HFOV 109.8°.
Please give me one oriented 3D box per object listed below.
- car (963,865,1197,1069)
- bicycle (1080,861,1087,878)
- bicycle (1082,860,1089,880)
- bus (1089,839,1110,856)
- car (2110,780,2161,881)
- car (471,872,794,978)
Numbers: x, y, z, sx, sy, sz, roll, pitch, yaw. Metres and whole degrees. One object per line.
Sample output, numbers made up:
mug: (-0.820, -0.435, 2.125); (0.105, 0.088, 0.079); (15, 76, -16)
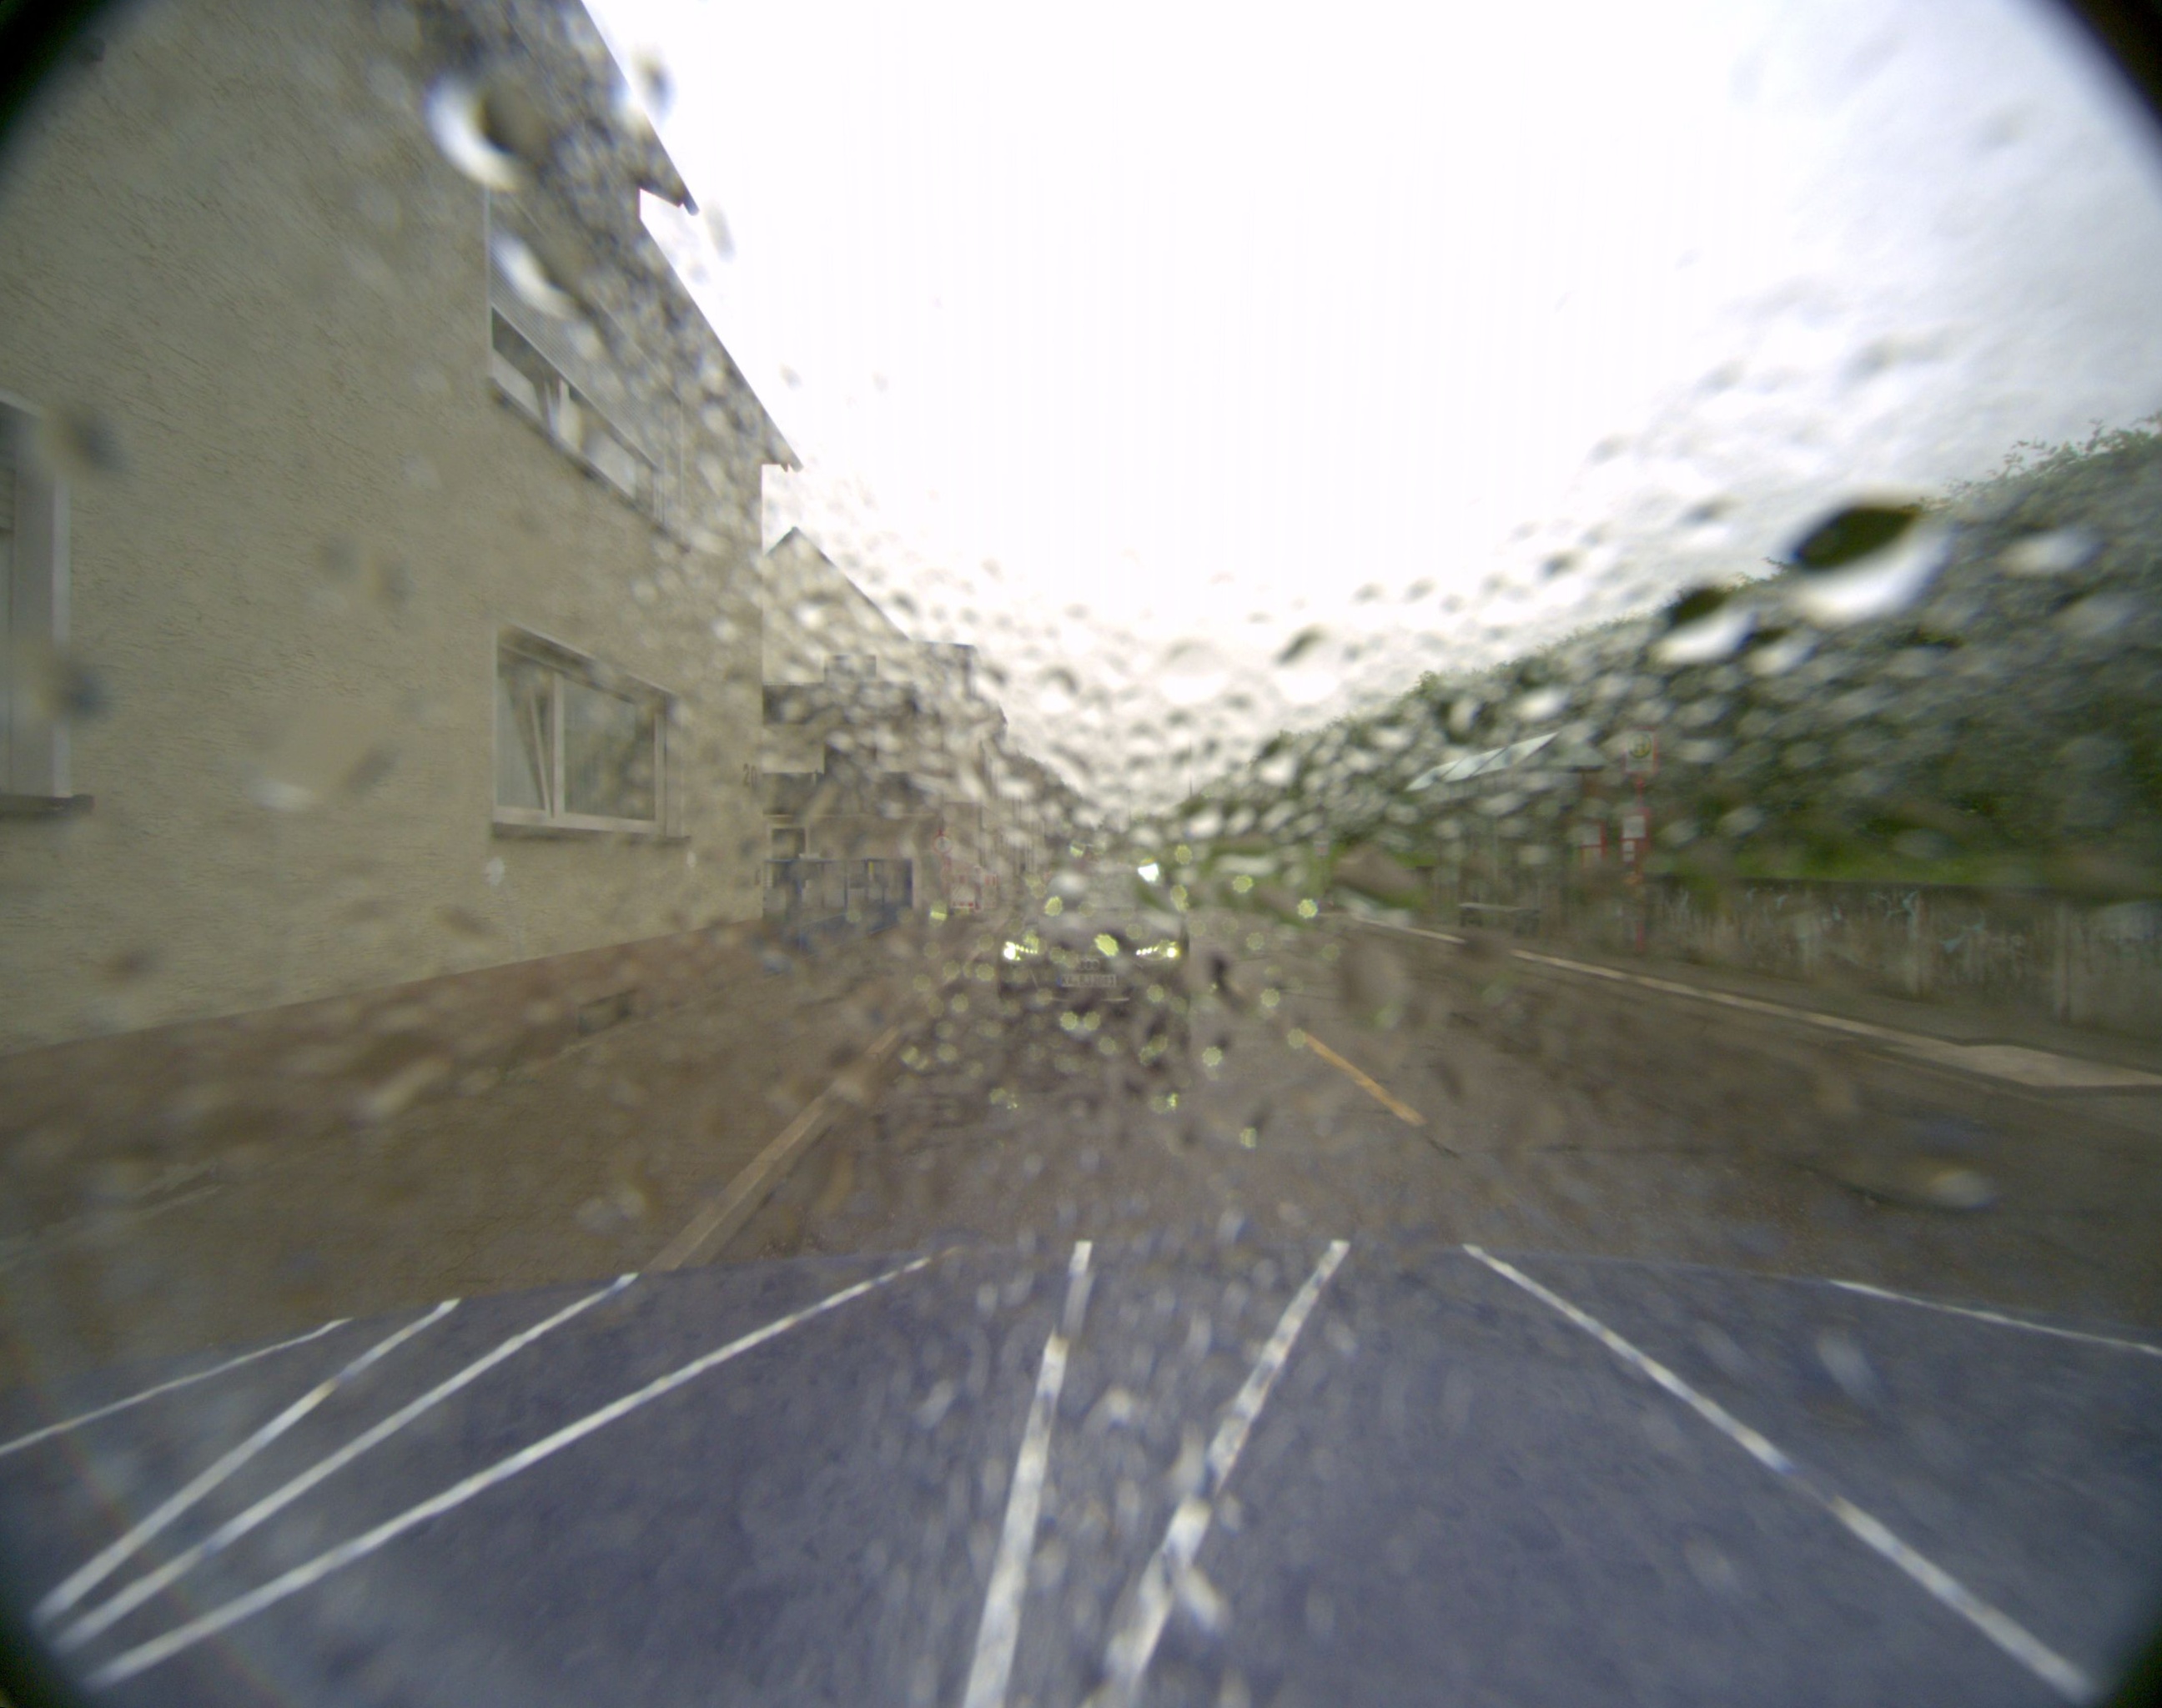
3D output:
car: (0.266, 0.922, 8.296); (1.850, 1.444, 4.534); (1, 1, 7)
bicycle: (0.165, 0.977, 47.322); (0.407, 1.023, 1.221); (1, 1, 1)
bicycle: (0.261, 0.951, 45.088); (0.407, 1.137, 1.221); (1, 1, 1)
bus: (3.541, -1.283, 142.370); (2.684, 2.987, 14.551); (1, 1, 6)
car: (15.662, -0.260, 8.772); (1.749, 1.382, 4.220); (-2, 3, -1)
car: (-7.261, 1.115, 12.664); (4.155, 1.294, 1.912); (-4, 1, -1)
